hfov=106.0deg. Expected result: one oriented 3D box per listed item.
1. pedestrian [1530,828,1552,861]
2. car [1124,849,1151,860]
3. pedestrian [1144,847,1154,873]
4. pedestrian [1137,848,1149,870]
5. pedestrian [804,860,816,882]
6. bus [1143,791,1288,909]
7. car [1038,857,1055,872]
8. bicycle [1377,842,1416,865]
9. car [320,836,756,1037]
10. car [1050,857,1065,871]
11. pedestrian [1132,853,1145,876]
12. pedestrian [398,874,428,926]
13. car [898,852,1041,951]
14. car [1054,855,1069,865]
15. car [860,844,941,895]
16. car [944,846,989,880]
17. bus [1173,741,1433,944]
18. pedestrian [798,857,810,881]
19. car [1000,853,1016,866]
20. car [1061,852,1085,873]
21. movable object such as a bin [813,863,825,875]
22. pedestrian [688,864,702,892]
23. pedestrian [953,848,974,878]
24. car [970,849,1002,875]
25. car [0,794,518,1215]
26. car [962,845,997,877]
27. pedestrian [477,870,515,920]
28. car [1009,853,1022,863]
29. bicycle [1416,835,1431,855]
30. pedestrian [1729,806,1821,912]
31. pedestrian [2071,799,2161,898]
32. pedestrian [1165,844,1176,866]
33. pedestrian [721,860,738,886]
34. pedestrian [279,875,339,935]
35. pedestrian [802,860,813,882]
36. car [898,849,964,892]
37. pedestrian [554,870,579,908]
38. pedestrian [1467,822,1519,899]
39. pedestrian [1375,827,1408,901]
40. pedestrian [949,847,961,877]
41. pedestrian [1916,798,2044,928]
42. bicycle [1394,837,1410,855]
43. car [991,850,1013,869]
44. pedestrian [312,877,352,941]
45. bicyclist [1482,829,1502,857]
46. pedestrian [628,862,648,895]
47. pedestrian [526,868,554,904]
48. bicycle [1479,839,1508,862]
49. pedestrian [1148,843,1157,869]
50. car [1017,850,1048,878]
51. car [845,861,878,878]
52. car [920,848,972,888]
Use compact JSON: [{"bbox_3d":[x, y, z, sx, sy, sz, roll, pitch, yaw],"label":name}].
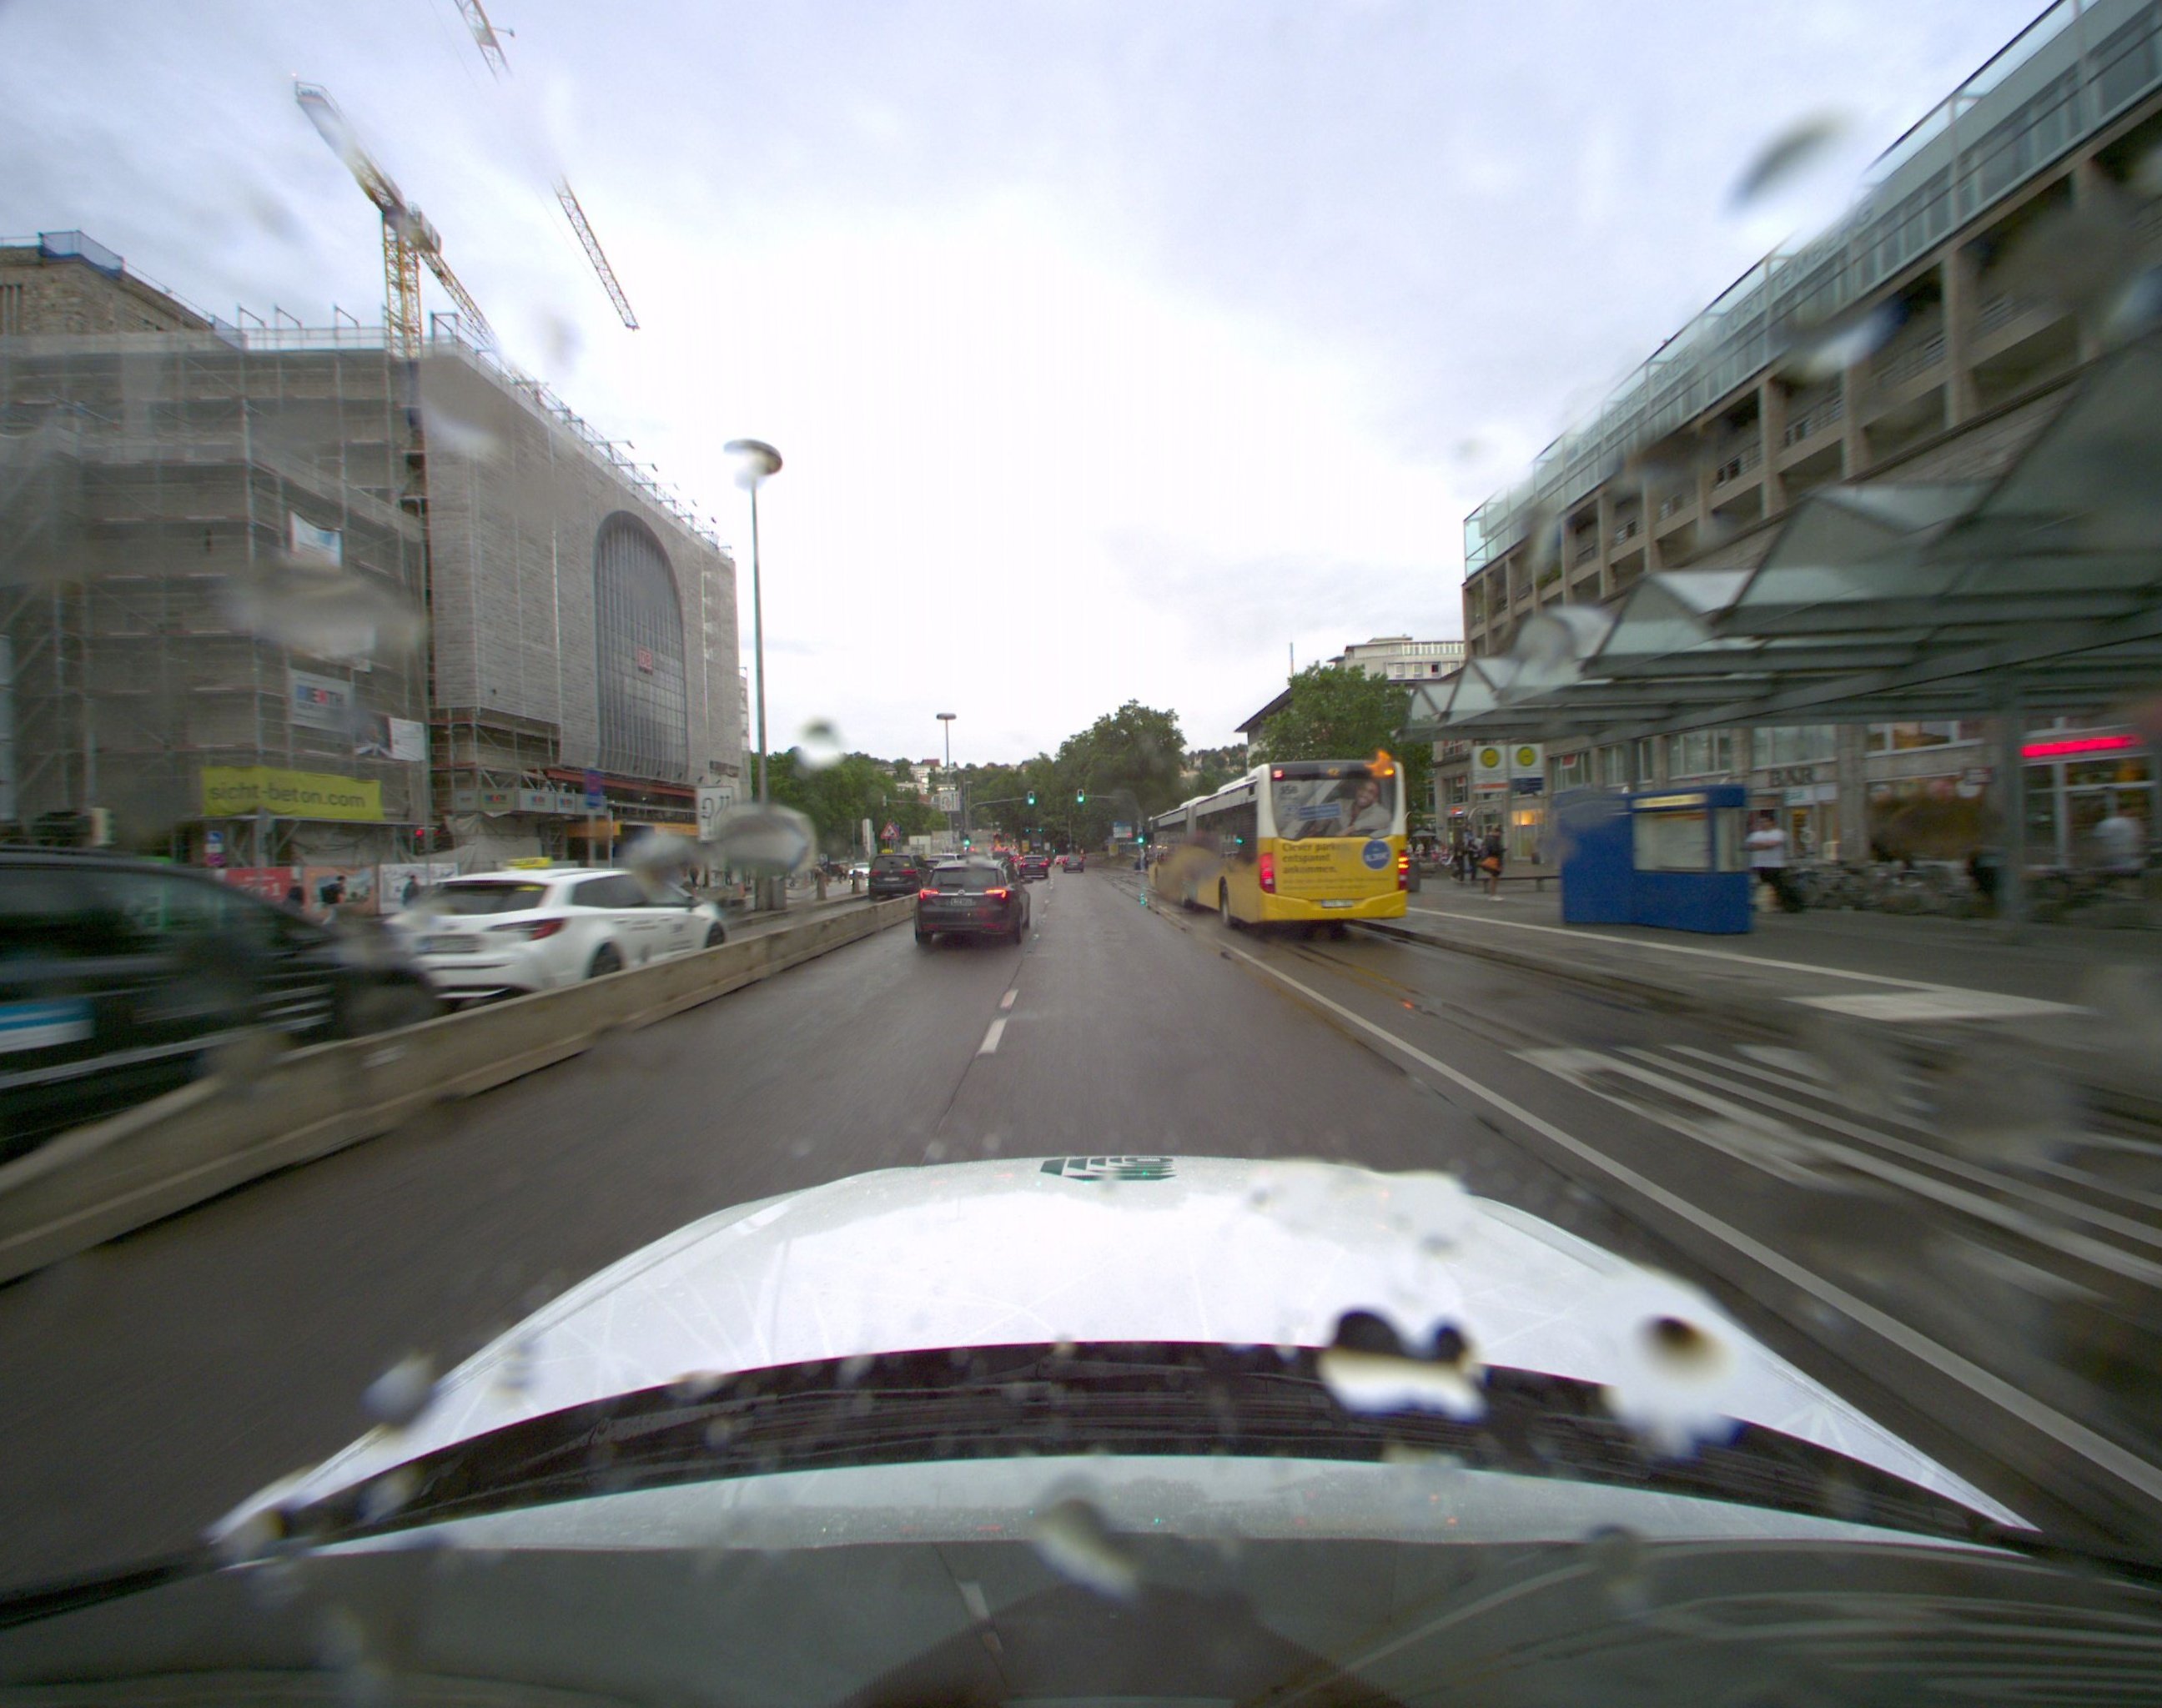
[{"bbox_3d":[25.549,-0.544,45.238,0.729,1.792,0.788,-2,0,-1],"label":"pedestrian"},{"bbox_3d":[8.425,0.086,120.669,3.572,1.506,1.745,-1,-1,37],"label":"car"},{"bbox_3d":[5.639,0.501,67.742,0.555,2.146,0.664,-2,0,-16],"label":"pedestrian"},{"bbox_3d":[5.050,0.402,66.191,0.747,1.804,0.706,-2,0,-16],"label":"pedestrian"},{"bbox_3d":[-22.702,1.404,68.256,0.696,1.841,0.877,-1,-1,-3],"label":"pedestrian"},{"bbox_3d":[4.055,-0.087,26.971,3.104,3.205,9.237,-1,0,-1],"label":"bus"},{"bbox_3d":[-4.135,1.241,97.899,1.899,1.717,3.996,-1,0,-3],"label":"car"},{"bbox_3d":[18.193,-0.025,46.984,2.095,1.139,0.882,-4,0,-27],"label":"bicycle"},{"bbox_3d":[-5.802,0.731,9.690,1.988,1.706,4.829,-2,0,-2],"label":"car"},{"bbox_3d":[-2.660,1.106,91.893,1.669,1.581,3.238,-1,0,-1],"label":"car"},{"bbox_3d":[4.871,0.890,69.089,0.788,1.838,0.945,-2,0,-16],"label":"pedestrian"},{"bbox_3d":[-24.360,1.662,29.697,0.571,1.841,0.701,-2,0,-14],"label":"pedestrian"},{"bbox_3d":[-1.874,0.744,15.278,1.871,1.508,4.853,-2,0,1],"label":"car"},{"bbox_3d":[-3.334,1.022,138.439,1.815,1.574,3.984,-1,0,-11],"label":"car"},{"bbox_3d":[-6.477,0.514,29.773,1.988,1.654,4.638,-2,0,-2],"label":"car"},{"bbox_3d":[-6.551,0.486,47.092,1.988,1.787,4.844,-2,0,-2],"label":"car"},{"bbox_3d":[4.124,-0.164,17.805,3.131,3.247,9.133,-1,0,0],"label":"bus"},{"bbox_3d":[-21.502,1.149,63.232,0.637,1.841,0.774,-2,0,-4],"label":"pedestrian"},{"bbox_3d":[-8.639,0.643,96.317,1.820,1.511,4.483,-1,0,-5],"label":"car"},{"bbox_3d":[-0.673,0.713,67.899,1.847,1.717,3.996,-1,0,-3],"label":"car"},{"bbox_3d":[-21.985,1.243,68.273,0.757,0.970,0.720,-2,0,-3],"label":"movable object such as a bin"},{"bbox_3d":[-25.115,1.555,53.013,0.534,1.841,0.771,-2,0,-1],"label":"pedestrian"},{"bbox_3d":[-8.064,0.598,55.861,0.825,2.013,1.034,-2,0,36],"label":"pedestrian"},{"bbox_3d":[-6.805,0.555,58.645,1.781,1.685,4.665,-2,0,-1],"label":"car"},{"bbox_3d":[-5.779,0.703,4.387,1.986,1.862,4.833,-2,0,1],"label":"car"},{"bbox_3d":[-6.494,0.417,52.553,1.709,1.892,4.608,-2,0,-1],"label":"car"},{"bbox_3d":[-22.625,1.563,31.509,0.876,1.841,0.834,-2,0,-14],"label":"pedestrian"},{"bbox_3d":[-12.261,0.718,151.310,1.994,1.827,3.985,-1,0,-11],"label":"car"},{"bbox_3d":[29.908,-0.787,71.194,0.612,1.634,2.000,-2,0,7],"label":"bicycle"},{"bbox_3d":[12.389,0.081,14.557,0.791,1.804,0.983,-2,0,-29],"label":"pedestrian"},{"bbox_3d":[18.537,-0.102,14.504,0.975,1.695,0.863,-2,0,40],"label":"pedestrian"},{"bbox_3d":[7.321,0.064,66.548,0.542,1.804,0.750,-2,0,-29],"label":"pedestrian"},{"bbox_3d":[-25.611,1.390,59.336,0.776,1.841,0.771,-2,0,-1],"label":"pedestrian"},{"bbox_3d":[-24.555,1.606,25.934,0.835,1.841,1.059,-2,0,3],"label":"pedestrian"},{"bbox_3d":[-22.698,1.407,67.555,0.696,1.841,0.528,-2,0,-3],"label":"pedestrian"},{"bbox_3d":[-6.524,0.673,36.010,2.044,1.711,5.051,-2,0,-2],"label":"car"},{"bbox_3d":[-23.578,1.601,37.332,0.682,1.685,0.834,-2,0,-14],"label":"pedestrian"},{"bbox_3d":[10.235,0.160,20.271,0.977,1.836,0.839,-2,0,15],"label":"pedestrian"},{"bbox_3d":[7.839,0.246,20.590,0.689,1.836,0.558,-2,0,16],"label":"pedestrian"},{"bbox_3d":[-8.471,0.538,54.794,0.620,2.013,0.836,-2,0,-2],"label":"pedestrian"},{"bbox_3d":[12.402,0.118,11.267,0.745,1.695,0.902,-2,0,3],"label":"pedestrian"},{"bbox_3d":[28.936,-0.730,73.532,0.789,1.562,2.135,-2,0,7],"label":"bicycle"},{"bbox_3d":[-7.760,0.542,80.297,1.990,1.845,5.054,-1,0,-5],"label":"car"},{"bbox_3d":[-22.317,1.632,24.267,0.507,1.841,0.703,-2,0,-6],"label":"pedestrian"},{"bbox_3d":[23.893,-0.634,47.376,0.647,1.554,0.908,-3,0,1],"label":"bicyclist"},{"bbox_3d":[-25.482,1.415,46.839,0.772,1.841,0.831,-2,0,-14],"label":"pedestrian"},{"bbox_3d":[-25.017,1.481,37.687,0.674,1.613,0.839,-2,0,2],"label":"pedestrian"},{"bbox_3d":[23.901,-0.204,47.228,0.657,1.255,2.014,-2,0,1],"label":"bicycle"},{"bbox_3d":[6.104,0.193,69.490,0.704,2.146,0.723,-2,0,9],"label":"pedestrian"},{"bbox_3d":[-3.062,0.611,52.209,1.826,1.686,4.130,-2,0,-2],"label":"car"},{"bbox_3d":[-20.461,1.427,76.196,1.987,1.468,3.999,-1,0,0],"label":"car"},{"bbox_3d":[-6.725,0.672,41.085,1.989,1.787,4.450,-2,0,-3],"label":"car"}]
